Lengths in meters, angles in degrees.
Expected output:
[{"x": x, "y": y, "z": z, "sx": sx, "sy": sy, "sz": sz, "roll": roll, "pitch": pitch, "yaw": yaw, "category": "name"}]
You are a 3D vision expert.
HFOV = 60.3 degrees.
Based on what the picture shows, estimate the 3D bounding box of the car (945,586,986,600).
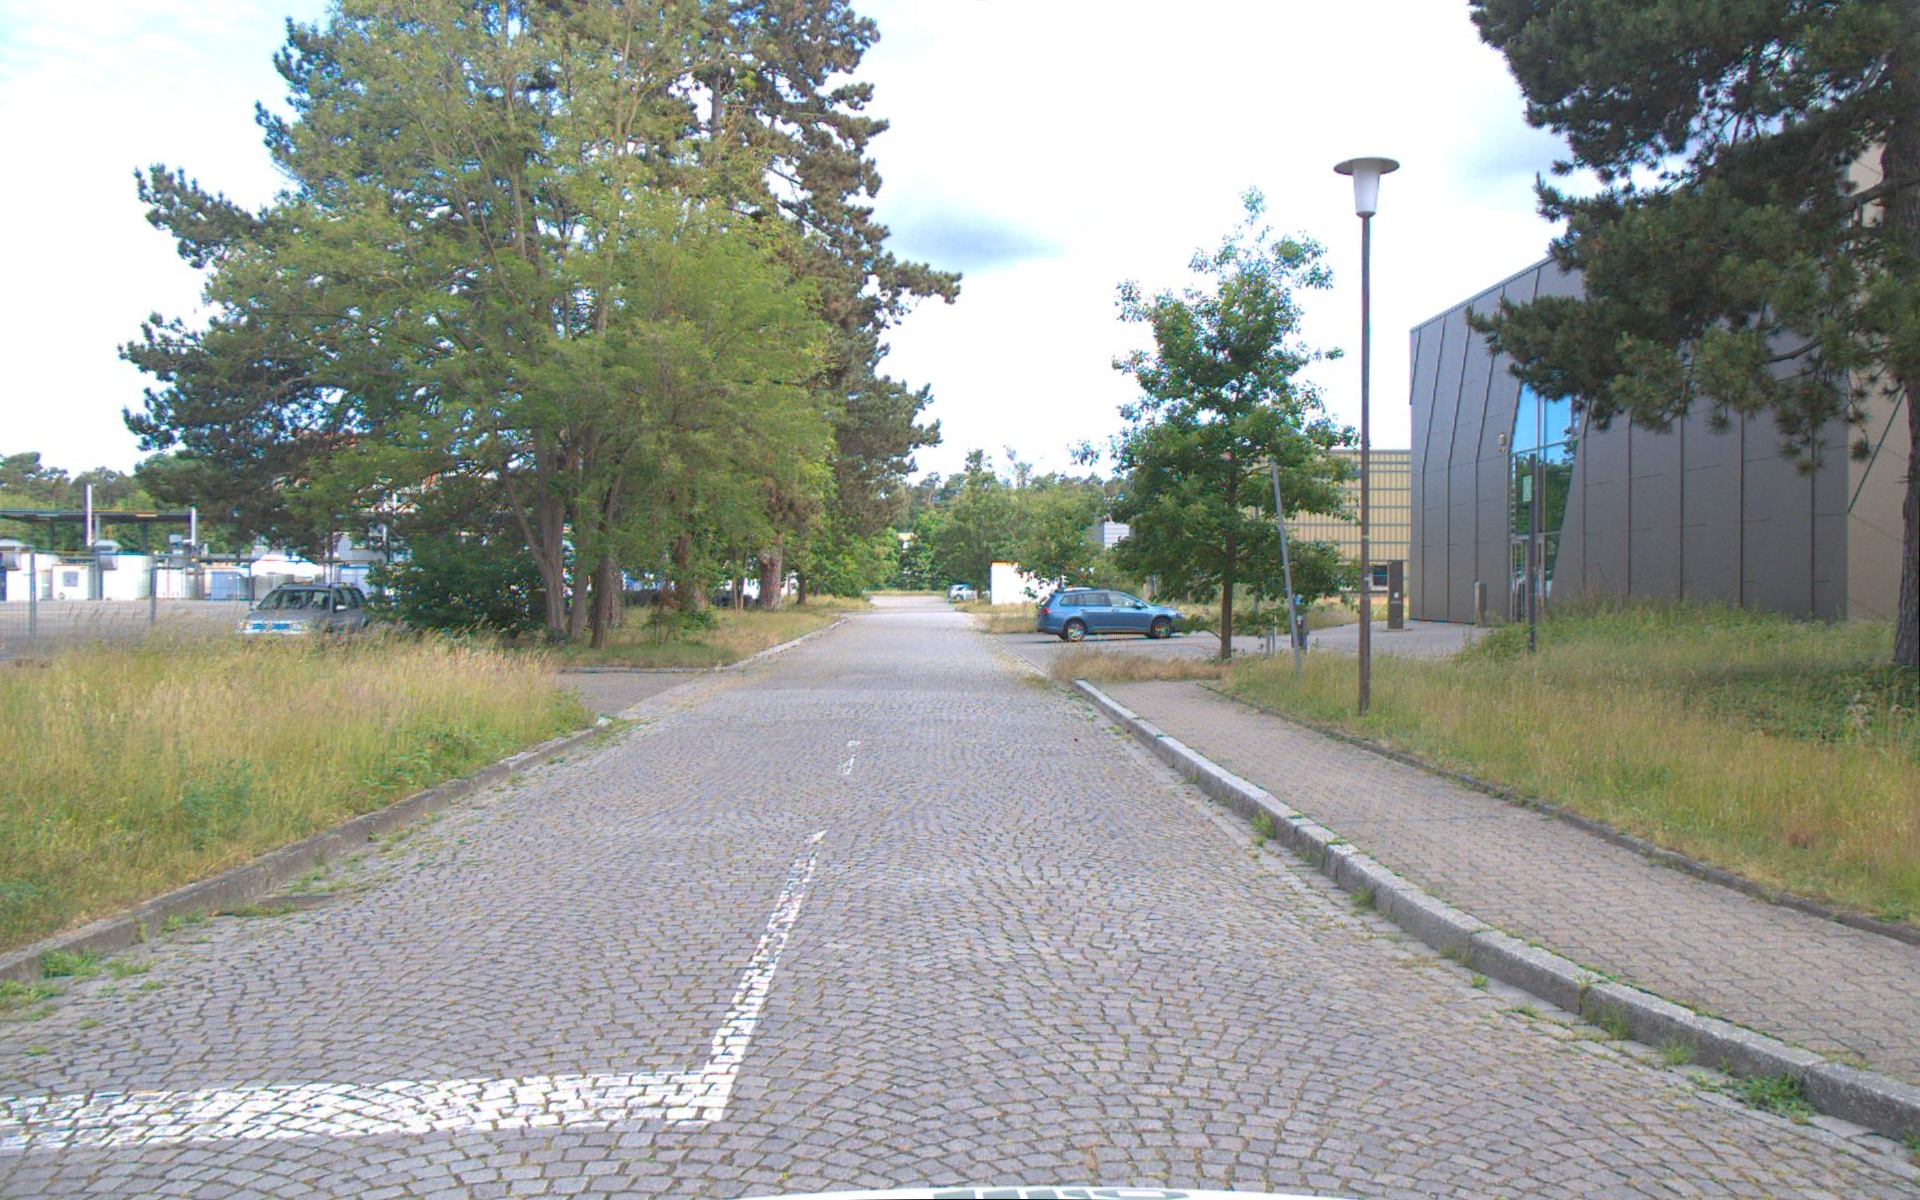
[{"x": 0.553, "y": -0.695, "z": 166.271, "sx": 3.911, "sy": 1.422, "sz": 1.997, "roll": 0, "pitch": 1, "yaw": -7, "category": "car"}]

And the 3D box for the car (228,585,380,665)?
[{"x": -13.257, "y": 0.466, "z": 33.675, "sx": 1.580, "sy": 1.513, "sz": 3.999, "roll": 0, "pitch": 1, "yaw": -1, "category": "car"}]

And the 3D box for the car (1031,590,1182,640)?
[{"x": 4.332, "y": 0.429, "z": 49.286, "sx": 4.258, "sy": 1.447, "sz": 1.999, "roll": 0, "pitch": 1, "yaw": -4, "category": "car"}]
